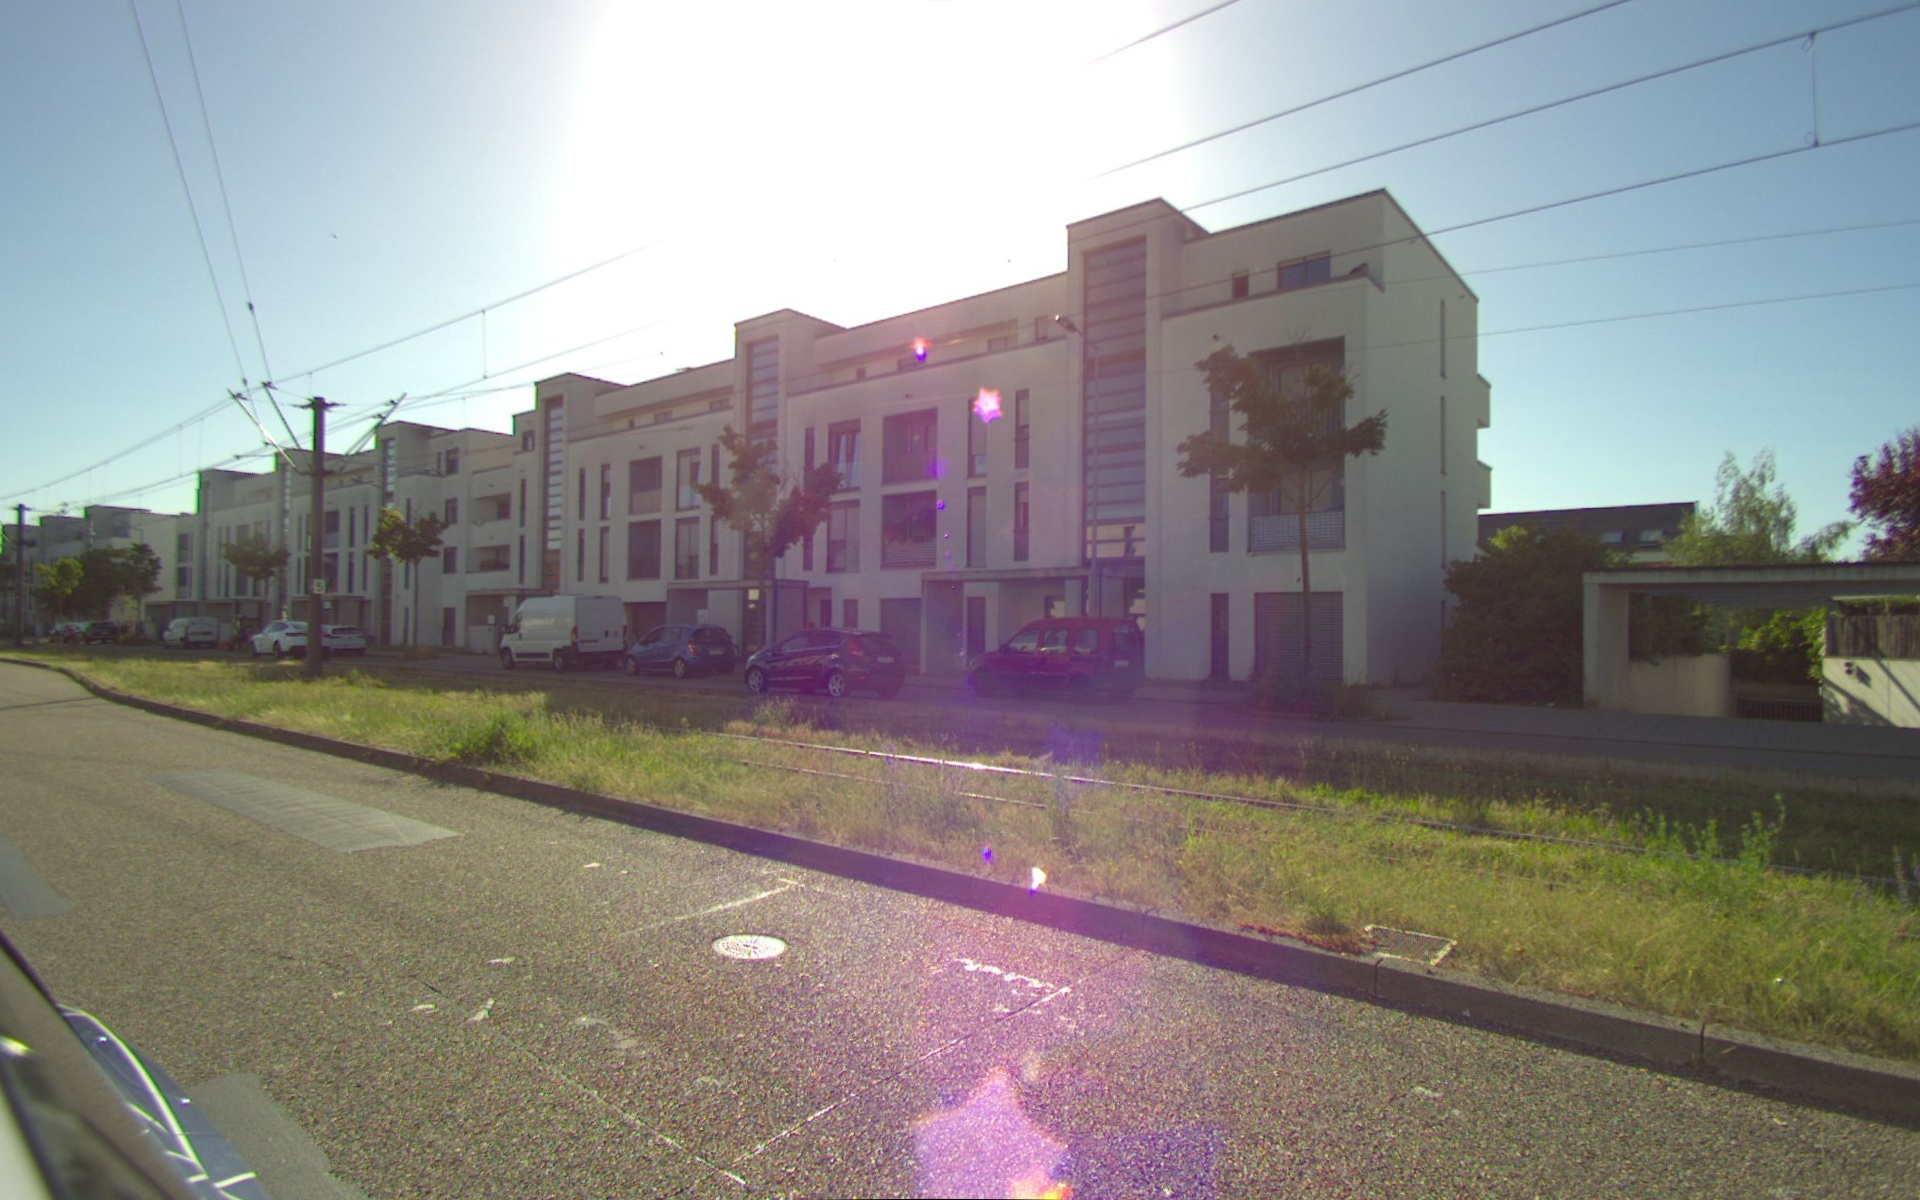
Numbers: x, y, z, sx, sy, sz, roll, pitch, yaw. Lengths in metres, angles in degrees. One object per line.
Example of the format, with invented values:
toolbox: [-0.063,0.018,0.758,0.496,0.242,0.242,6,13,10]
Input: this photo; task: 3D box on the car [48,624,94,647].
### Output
car: [-66.096,2.640,75.240,4.149,1.611,1.745,-1,-1,37]

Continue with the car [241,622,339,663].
car: [-27.761,1.758,41.882,4.641,1.608,1.974,-1,-5,39]

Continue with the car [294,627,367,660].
car: [-29.692,2.030,47.693,4.149,1.443,1.503,-1,-1,37]

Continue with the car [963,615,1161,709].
car: [2.108,1.244,21.576,3.836,1.809,1.861,-2,-1,41]

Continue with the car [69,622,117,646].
car: [-61.571,2.404,71.880,4.149,1.611,1.745,-1,-1,37]

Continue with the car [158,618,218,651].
car: [-45.814,2.056,60.054,4.149,1.884,1.745,-1,-1,37]

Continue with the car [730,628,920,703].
car: [-2.907,1.333,21.349,3.998,1.429,1.769,-2,-4,42]

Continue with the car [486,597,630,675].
car: [-13.834,1.192,34.654,5.583,2.463,2.119,-2,-1,39]

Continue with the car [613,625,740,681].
car: [-8.490,1.531,30.179,3.839,1.548,1.805,-2,-1,41]

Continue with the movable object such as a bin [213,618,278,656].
movable object such as a bin: [-39.169,2.008,55.442,4.149,1.952,1.745,-1,-1,37]
